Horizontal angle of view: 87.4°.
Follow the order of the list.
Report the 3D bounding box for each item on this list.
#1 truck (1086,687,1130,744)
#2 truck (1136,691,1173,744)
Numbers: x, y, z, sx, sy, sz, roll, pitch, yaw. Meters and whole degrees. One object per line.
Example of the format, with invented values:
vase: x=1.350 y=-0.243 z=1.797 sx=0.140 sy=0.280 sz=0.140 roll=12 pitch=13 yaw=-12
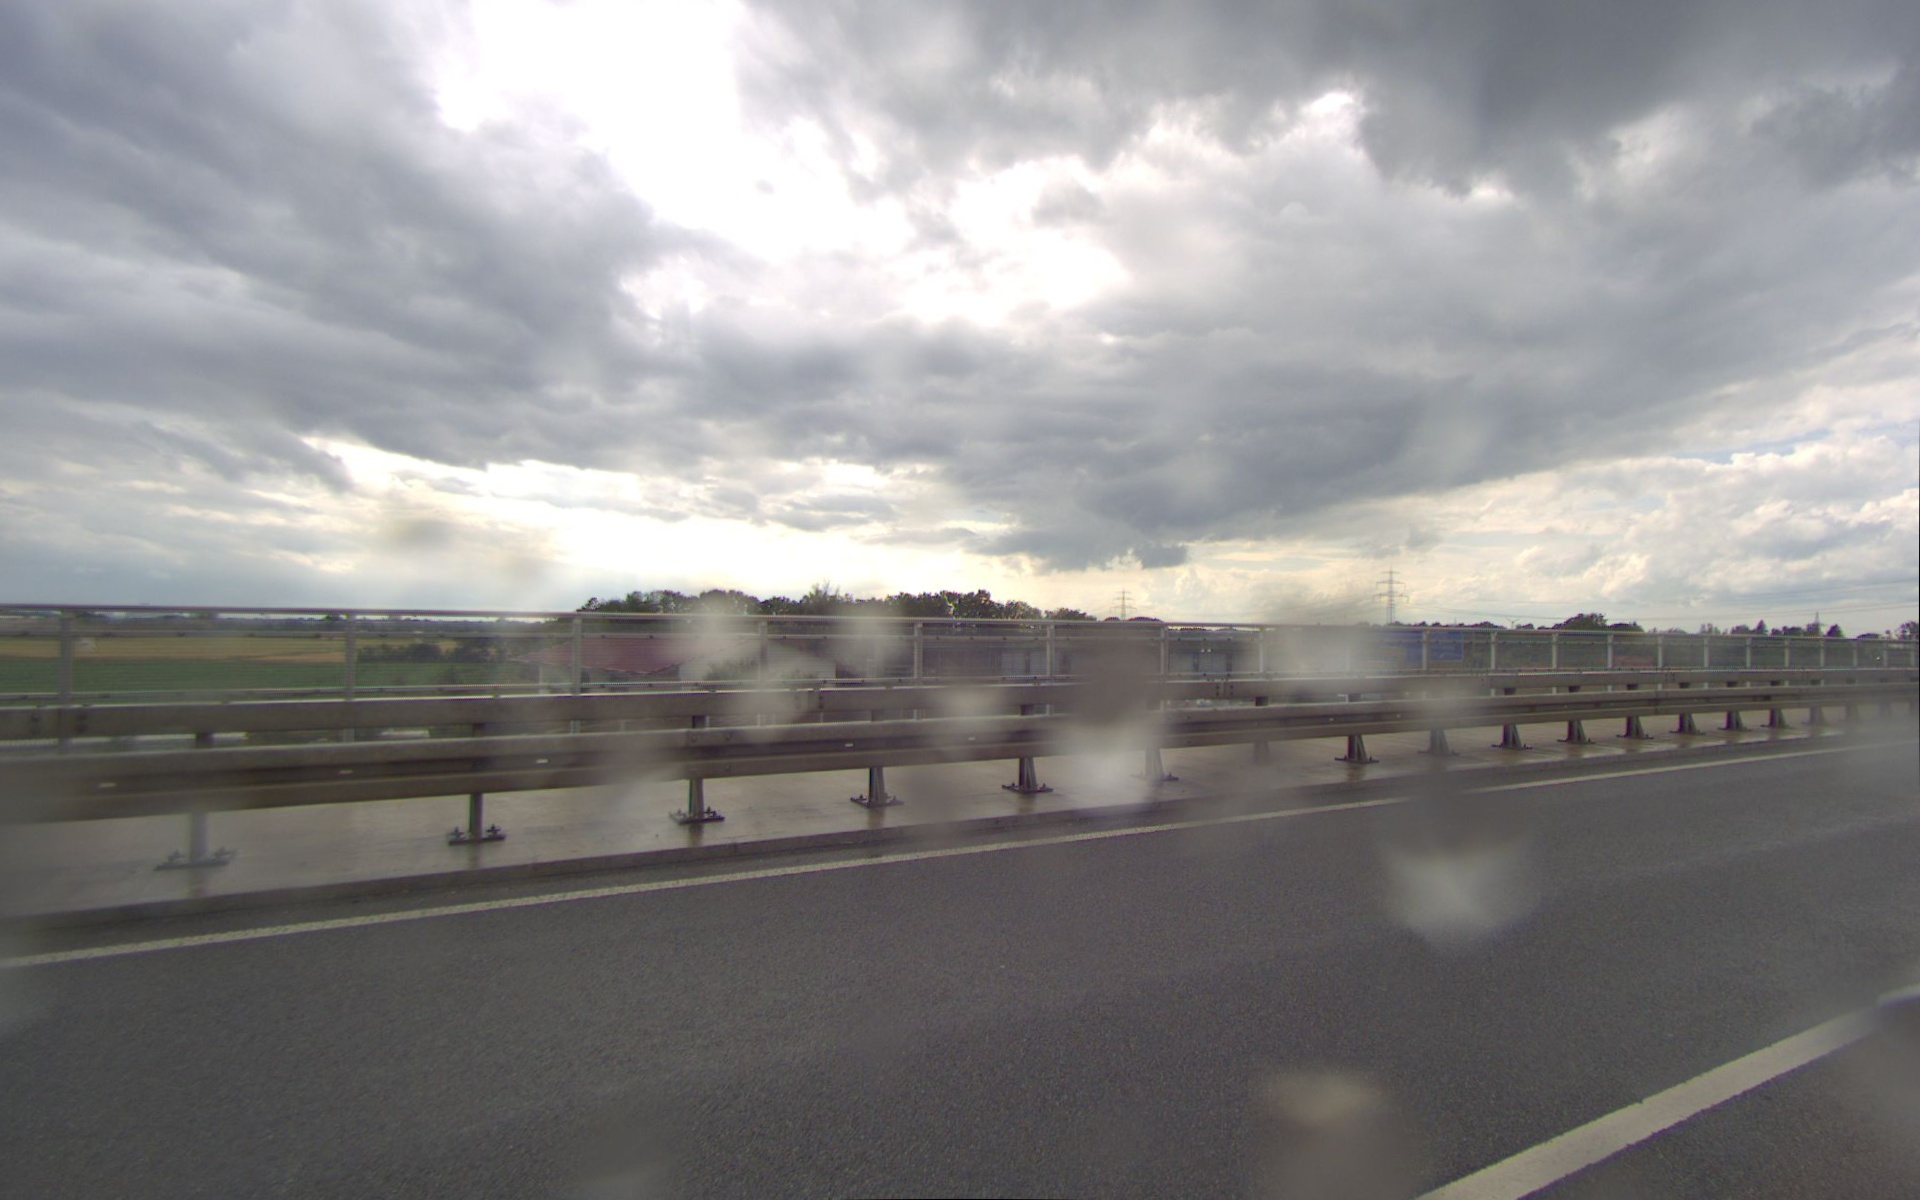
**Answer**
truck: x=13.806 y=10.466 z=92.787 sx=2.388 sy=4.054 sz=11.174 roll=2 pitch=0 yaw=16
truck: x=19.265 y=11.427 z=98.996 sx=2.388 sy=4.054 sz=11.174 roll=2 pitch=0 yaw=16
